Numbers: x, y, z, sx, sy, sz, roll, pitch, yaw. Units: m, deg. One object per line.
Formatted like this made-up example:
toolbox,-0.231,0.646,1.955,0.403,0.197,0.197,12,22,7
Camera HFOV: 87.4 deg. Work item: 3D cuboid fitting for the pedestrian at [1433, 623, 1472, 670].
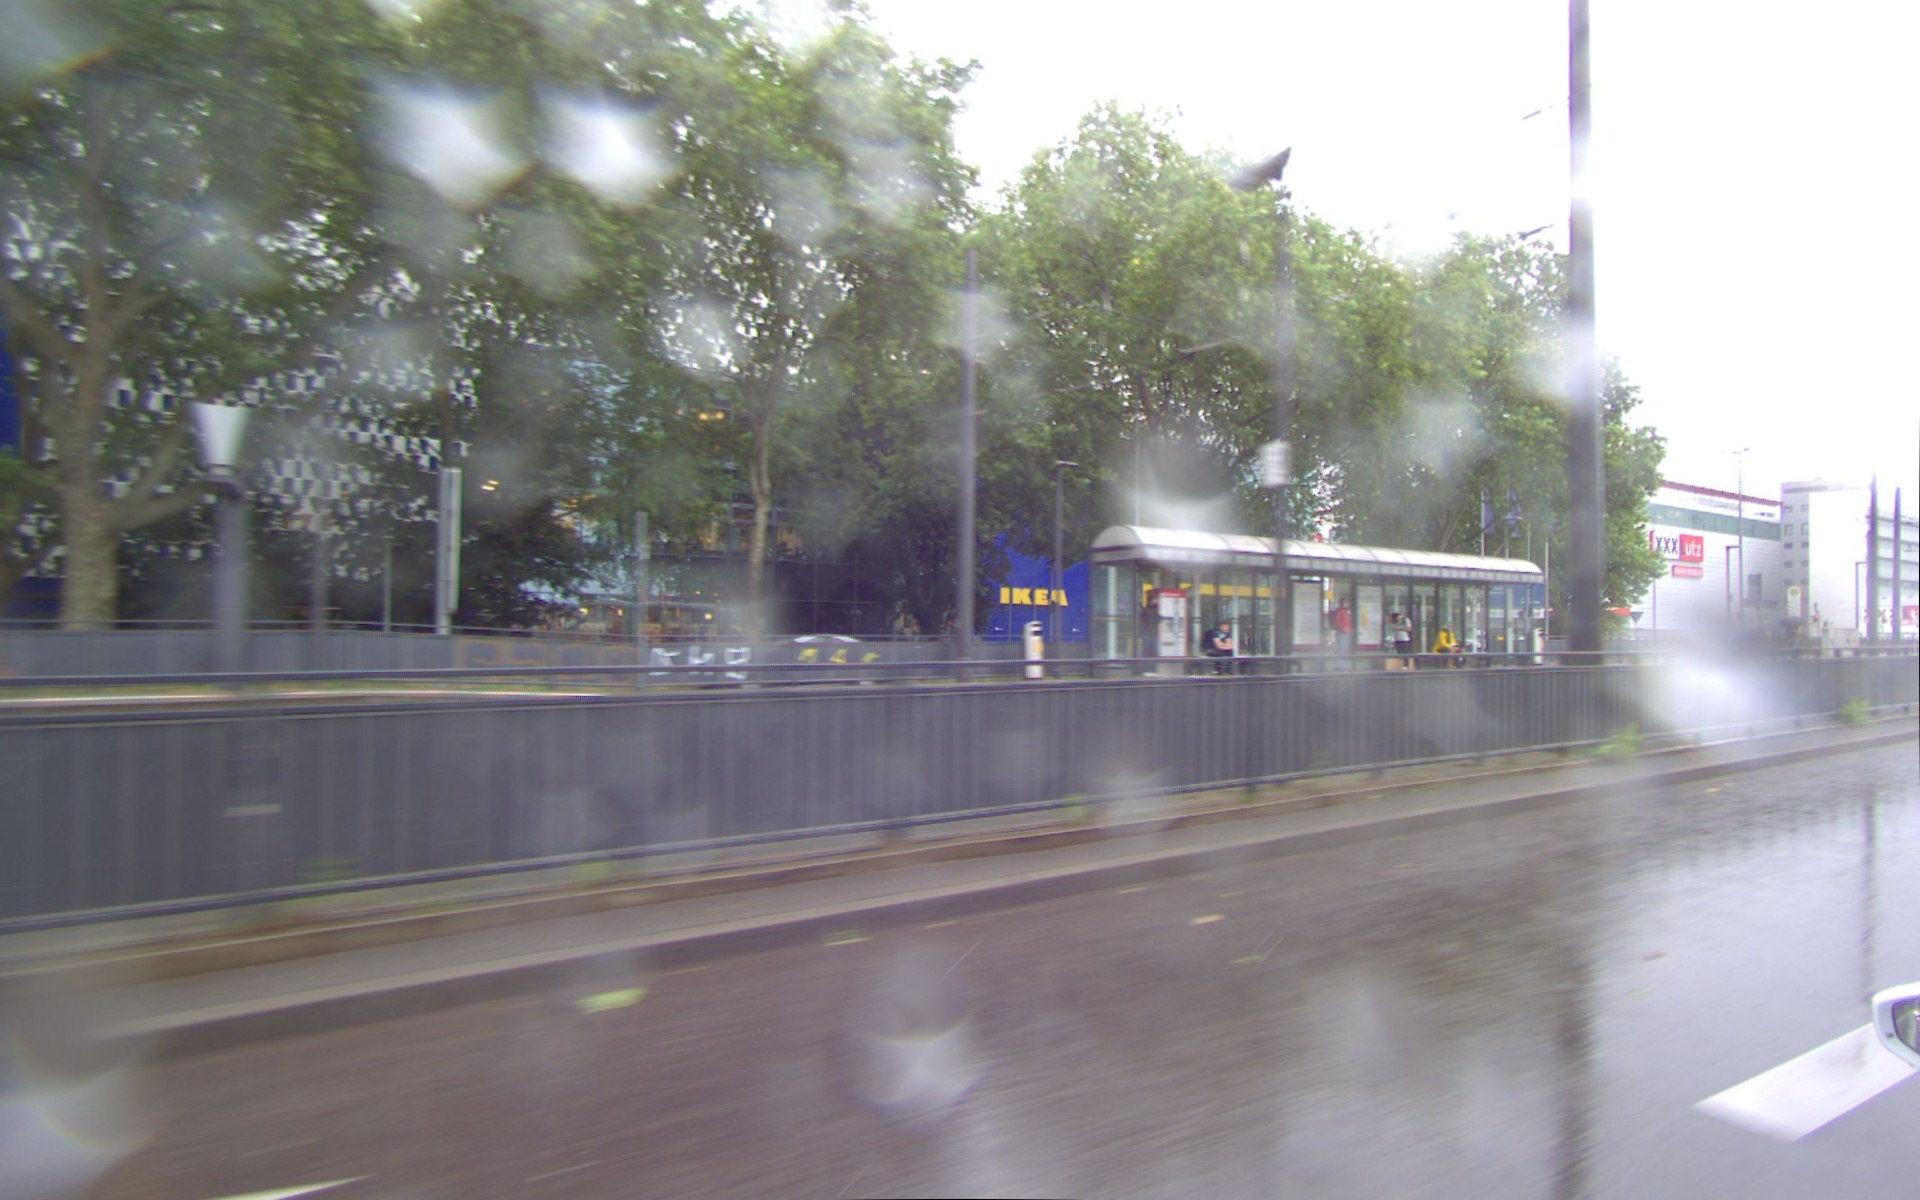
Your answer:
pedestrian,14.313,1.346,29.183,0.804,1.320,0.641,1,0,-27

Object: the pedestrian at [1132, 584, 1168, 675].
pedestrian,4.302,0.658,22.765,0.576,2.040,0.491,1,0,-30

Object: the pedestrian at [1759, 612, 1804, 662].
pedestrian,34.714,1.560,42.459,1.081,2.040,1.085,1,0,-25

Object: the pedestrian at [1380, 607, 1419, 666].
pedestrian,12.214,1.012,27.922,0.811,1.582,0.673,2,0,11

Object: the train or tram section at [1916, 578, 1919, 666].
train or tram section,56.634,1.350,52.322,26.800,4.090,3.748,2,0,-33

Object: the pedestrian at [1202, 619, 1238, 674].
pedestrian,6.190,1.109,23.918,0.655,1.284,0.491,1,0,-27

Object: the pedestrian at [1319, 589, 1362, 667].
pedestrian,9.819,0.717,25.951,0.804,1.959,0.619,1,0,-27

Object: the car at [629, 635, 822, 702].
car,-5.416,1.538,23.349,3.958,1.401,1.939,2,-1,-33
